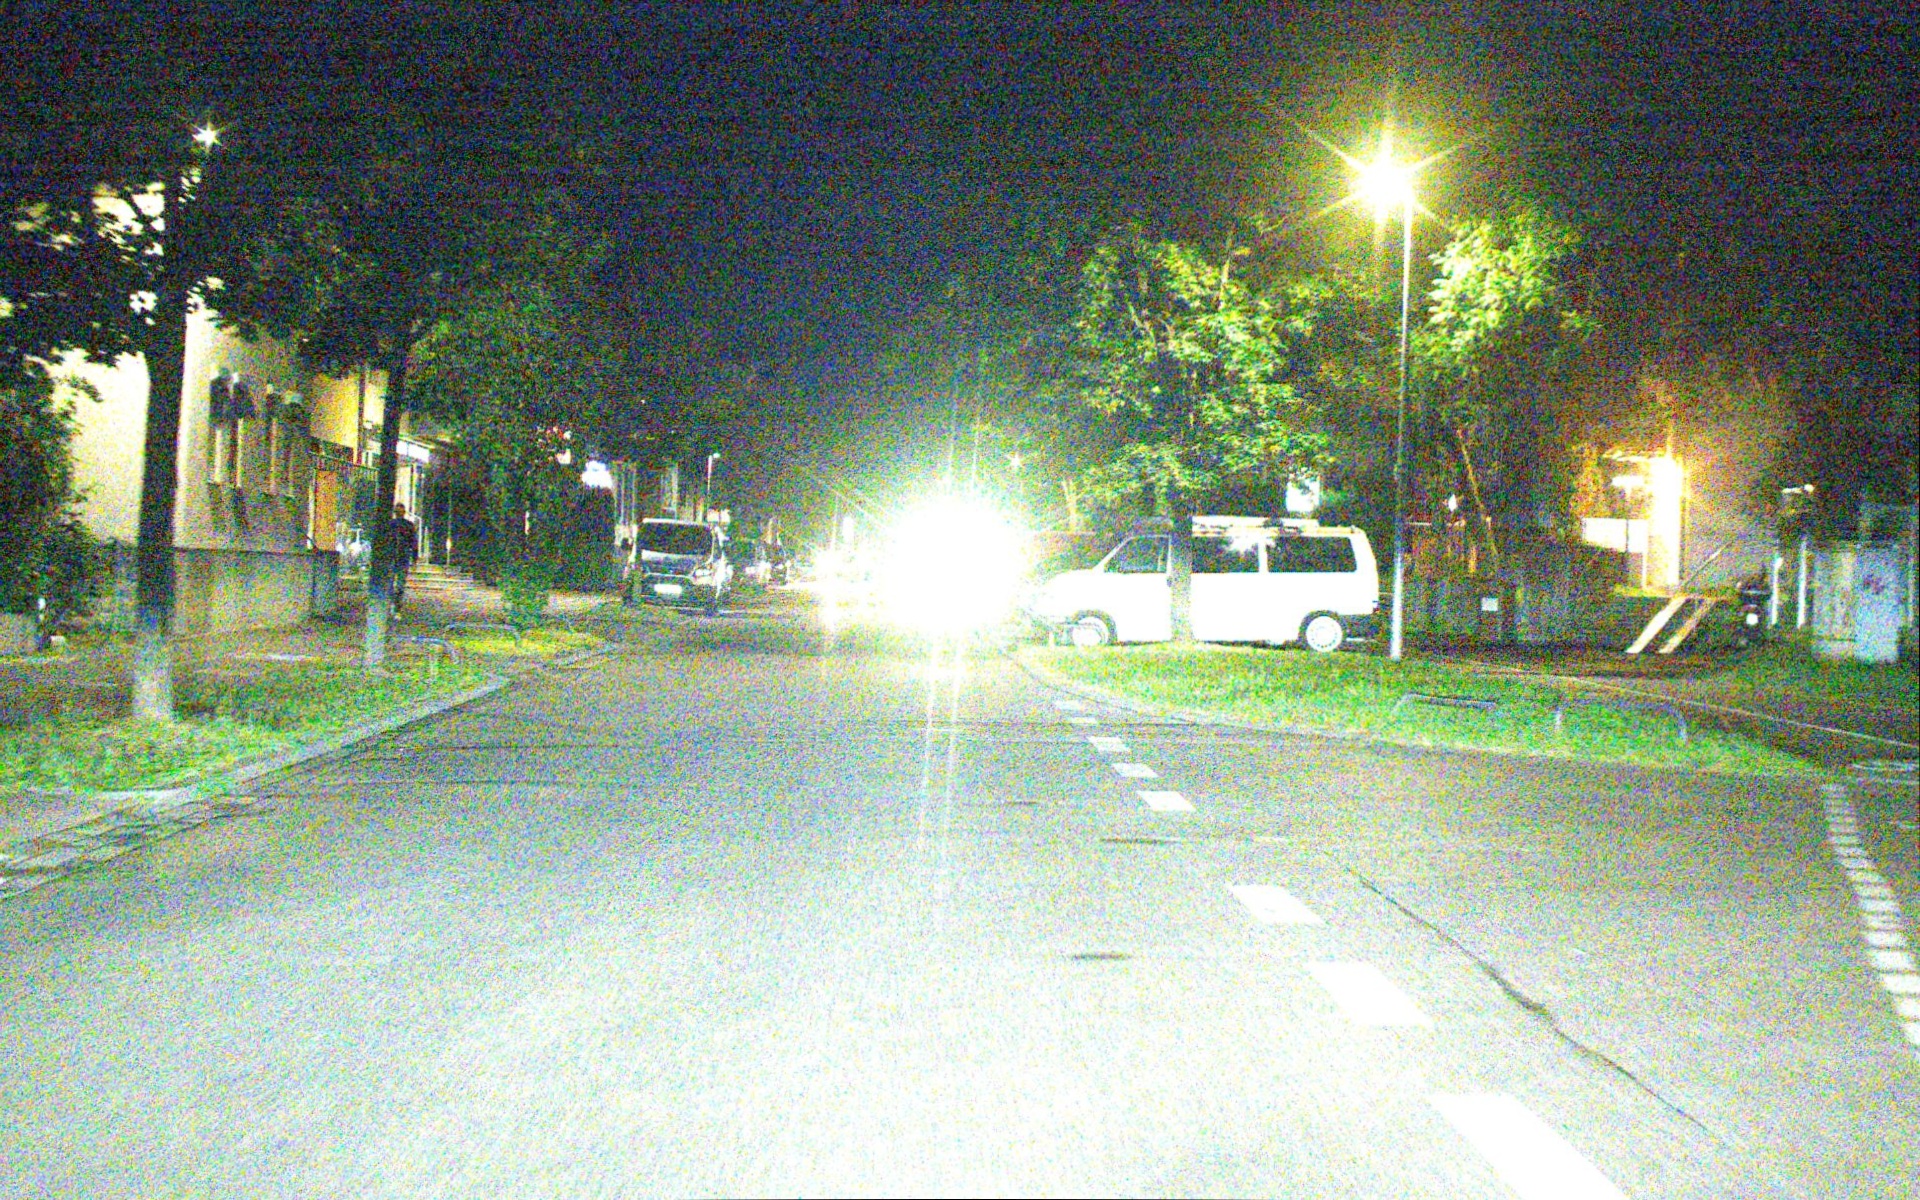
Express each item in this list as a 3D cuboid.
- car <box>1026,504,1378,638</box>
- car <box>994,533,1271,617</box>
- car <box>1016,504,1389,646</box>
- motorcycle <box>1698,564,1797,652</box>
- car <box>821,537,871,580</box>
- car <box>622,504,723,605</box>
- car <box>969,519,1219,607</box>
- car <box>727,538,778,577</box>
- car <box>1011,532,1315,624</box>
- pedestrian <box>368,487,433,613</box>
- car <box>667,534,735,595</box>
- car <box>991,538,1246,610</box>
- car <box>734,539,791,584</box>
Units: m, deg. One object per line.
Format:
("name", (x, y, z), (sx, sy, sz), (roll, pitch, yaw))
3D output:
("car", (3.664, -0.462, 52.744), (5.182, 2.007, 2.102), (0, 1, -2))
("car", (3.280, -0.493, 66.216), (5.182, 1.588, 2.102), (0, 1, -2))
("car", (3.444, -0.376, 49.624), (5.182, 2.007, 2.102), (0, 1, -2))
("motorcycle", (12.781, 0.111, 55.736), (1.071, 1.322, 2.704), (2, 2, 23))
("car", (-4.493, -1.660, 135.619), (1.927, 1.643, 3.822), (0, 1, -2))
("car", (-6.072, -0.973, 73.050), (1.824, 1.980, 4.466), (3, 1, -2))
("car", (2.923, -0.811, 74.366), (5.184, 1.880, 2.101), (0, 1, 9))
("car", (-7.354, -1.526, 121.970), (1.683, 1.326, 3.600), (1, 1, -2))
("car", (3.547, -0.402, 60.726), (5.182, 1.588, 2.102), (0, 1, -2))
("pedestrian", (-9.129, -0.817, 56.168), (0.785, 2.007, 1.204), (3, 1, -1))
("car", (-6.400, -0.884, 85.286), (1.534, 1.446, 3.119), (1, 1, -2))
("car", (3.271, -0.551, 71.732), (5.182, 1.464, 2.102), (0, 1, -2))
("car", (-6.105, -1.200, 106.464), (1.683, 1.326, 3.600), (1, 1, -2))
